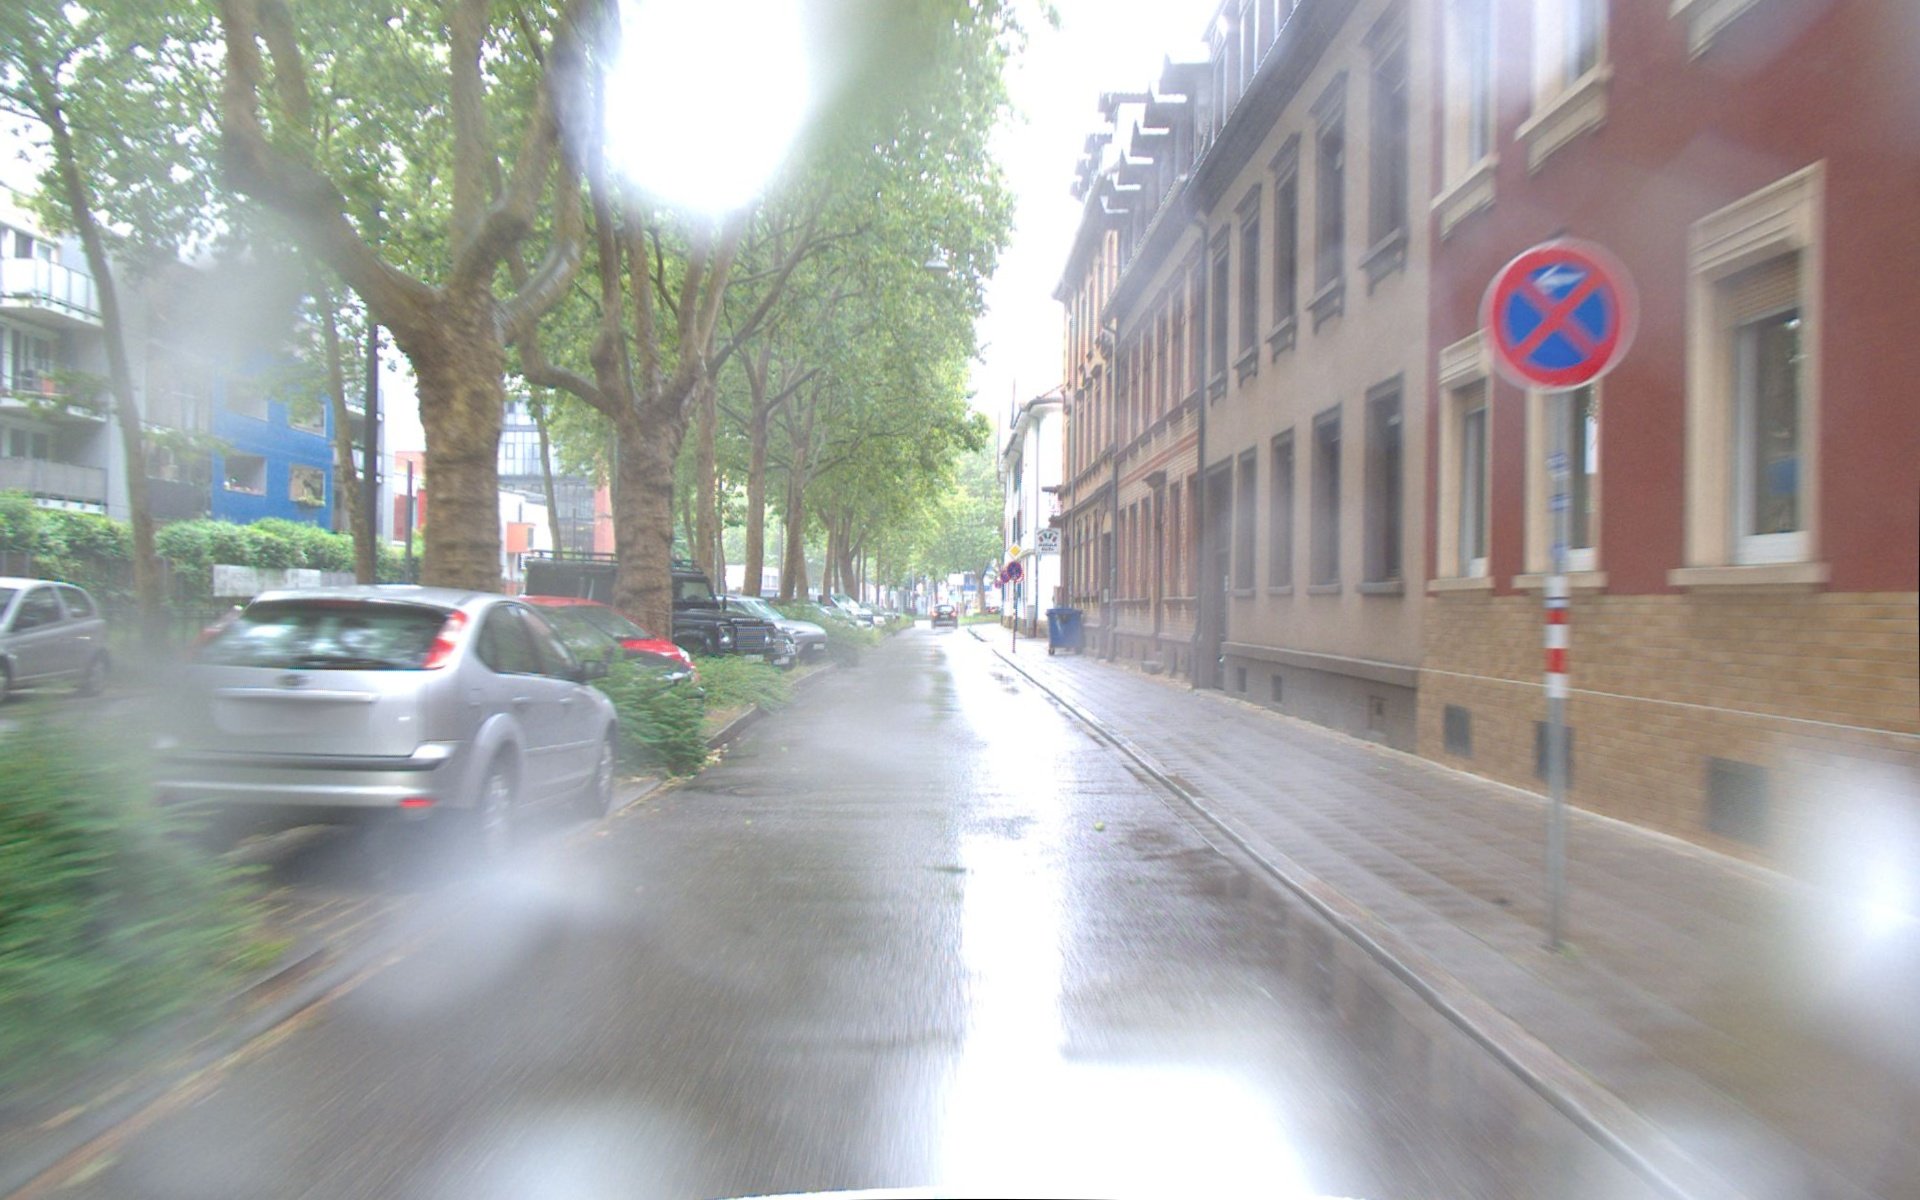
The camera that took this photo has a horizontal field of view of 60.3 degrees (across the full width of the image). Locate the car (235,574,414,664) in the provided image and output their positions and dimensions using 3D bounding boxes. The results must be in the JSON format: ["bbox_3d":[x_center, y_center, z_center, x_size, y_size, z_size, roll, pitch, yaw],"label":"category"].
[{"bbox_3d":[-12.243,0.372,32.174,1.866,1.561,4.419,2,-1,-2],"label":"car"}]

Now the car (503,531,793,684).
[{"bbox_3d":[-5.188,0.114,27.341,4.562,2.323,2.006,1,-1,33],"label":"car"}]

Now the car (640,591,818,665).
[{"bbox_3d":[-4.999,0.601,35.831,3.427,1.493,1.642,1,-1,20],"label":"car"}]

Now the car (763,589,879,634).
[{"bbox_3d":[-6.353,0.543,75.454,5.020,2.012,2.098,0,-1,30],"label":"car"}]

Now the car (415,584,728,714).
[{"bbox_3d":[-4.814,0.572,20.523,3.424,1.461,1.779,1,-1,27],"label":"car"}]

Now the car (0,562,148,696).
[{"bbox_3d":[-12.160,0.318,20.815,1.866,1.561,4.213,2,-1,-2],"label":"car"}]

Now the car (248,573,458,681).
[{"bbox_3d":[-9.212,0.426,25.446,1.797,1.445,3.998,3,-1,-2],"label":"car"}]

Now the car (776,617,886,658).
[{"bbox_3d":[-5.379,1.545,68.761,4.218,1.462,1.746,2,0,26],"label":"car"}]

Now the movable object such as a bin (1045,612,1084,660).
[{"bbox_3d":[3.021,1.029,47.984,1.000,1.324,1.366,-2,0,-1],"label":"movable object such as a bin"}]

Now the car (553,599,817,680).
[{"bbox_3d":[-5.041,0.698,30.248,4.554,1.349,1.845,1,-1,27],"label":"car"}]

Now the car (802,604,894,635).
[{"bbox_3d":[-5.725,0.990,84.381,4.460,1.508,1.771,0,-1,30],"label":"car"}]

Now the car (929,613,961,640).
[{"bbox_3d":[-1.000,1.737,109.218,1.953,1.668,3.998,3,-1,-1],"label":"car"}]

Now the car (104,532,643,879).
[{"bbox_3d":[-3.155,0.521,9.880,1.694,1.541,4.206,3,-1,-1],"label":"car"}]

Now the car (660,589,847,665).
[{"bbox_3d":[-4.812,0.606,38.485,3.976,1.564,1.832,2,0,30],"label":"car"}]

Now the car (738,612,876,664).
[{"bbox_3d":[-5.104,1.269,54.960,4.322,1.674,1.868,-1,-2,30],"label":"car"}]

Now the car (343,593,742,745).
[{"bbox_3d":[-4.542,0.697,18.001,3.953,1.460,1.780,1,-1,24],"label":"car"}]
